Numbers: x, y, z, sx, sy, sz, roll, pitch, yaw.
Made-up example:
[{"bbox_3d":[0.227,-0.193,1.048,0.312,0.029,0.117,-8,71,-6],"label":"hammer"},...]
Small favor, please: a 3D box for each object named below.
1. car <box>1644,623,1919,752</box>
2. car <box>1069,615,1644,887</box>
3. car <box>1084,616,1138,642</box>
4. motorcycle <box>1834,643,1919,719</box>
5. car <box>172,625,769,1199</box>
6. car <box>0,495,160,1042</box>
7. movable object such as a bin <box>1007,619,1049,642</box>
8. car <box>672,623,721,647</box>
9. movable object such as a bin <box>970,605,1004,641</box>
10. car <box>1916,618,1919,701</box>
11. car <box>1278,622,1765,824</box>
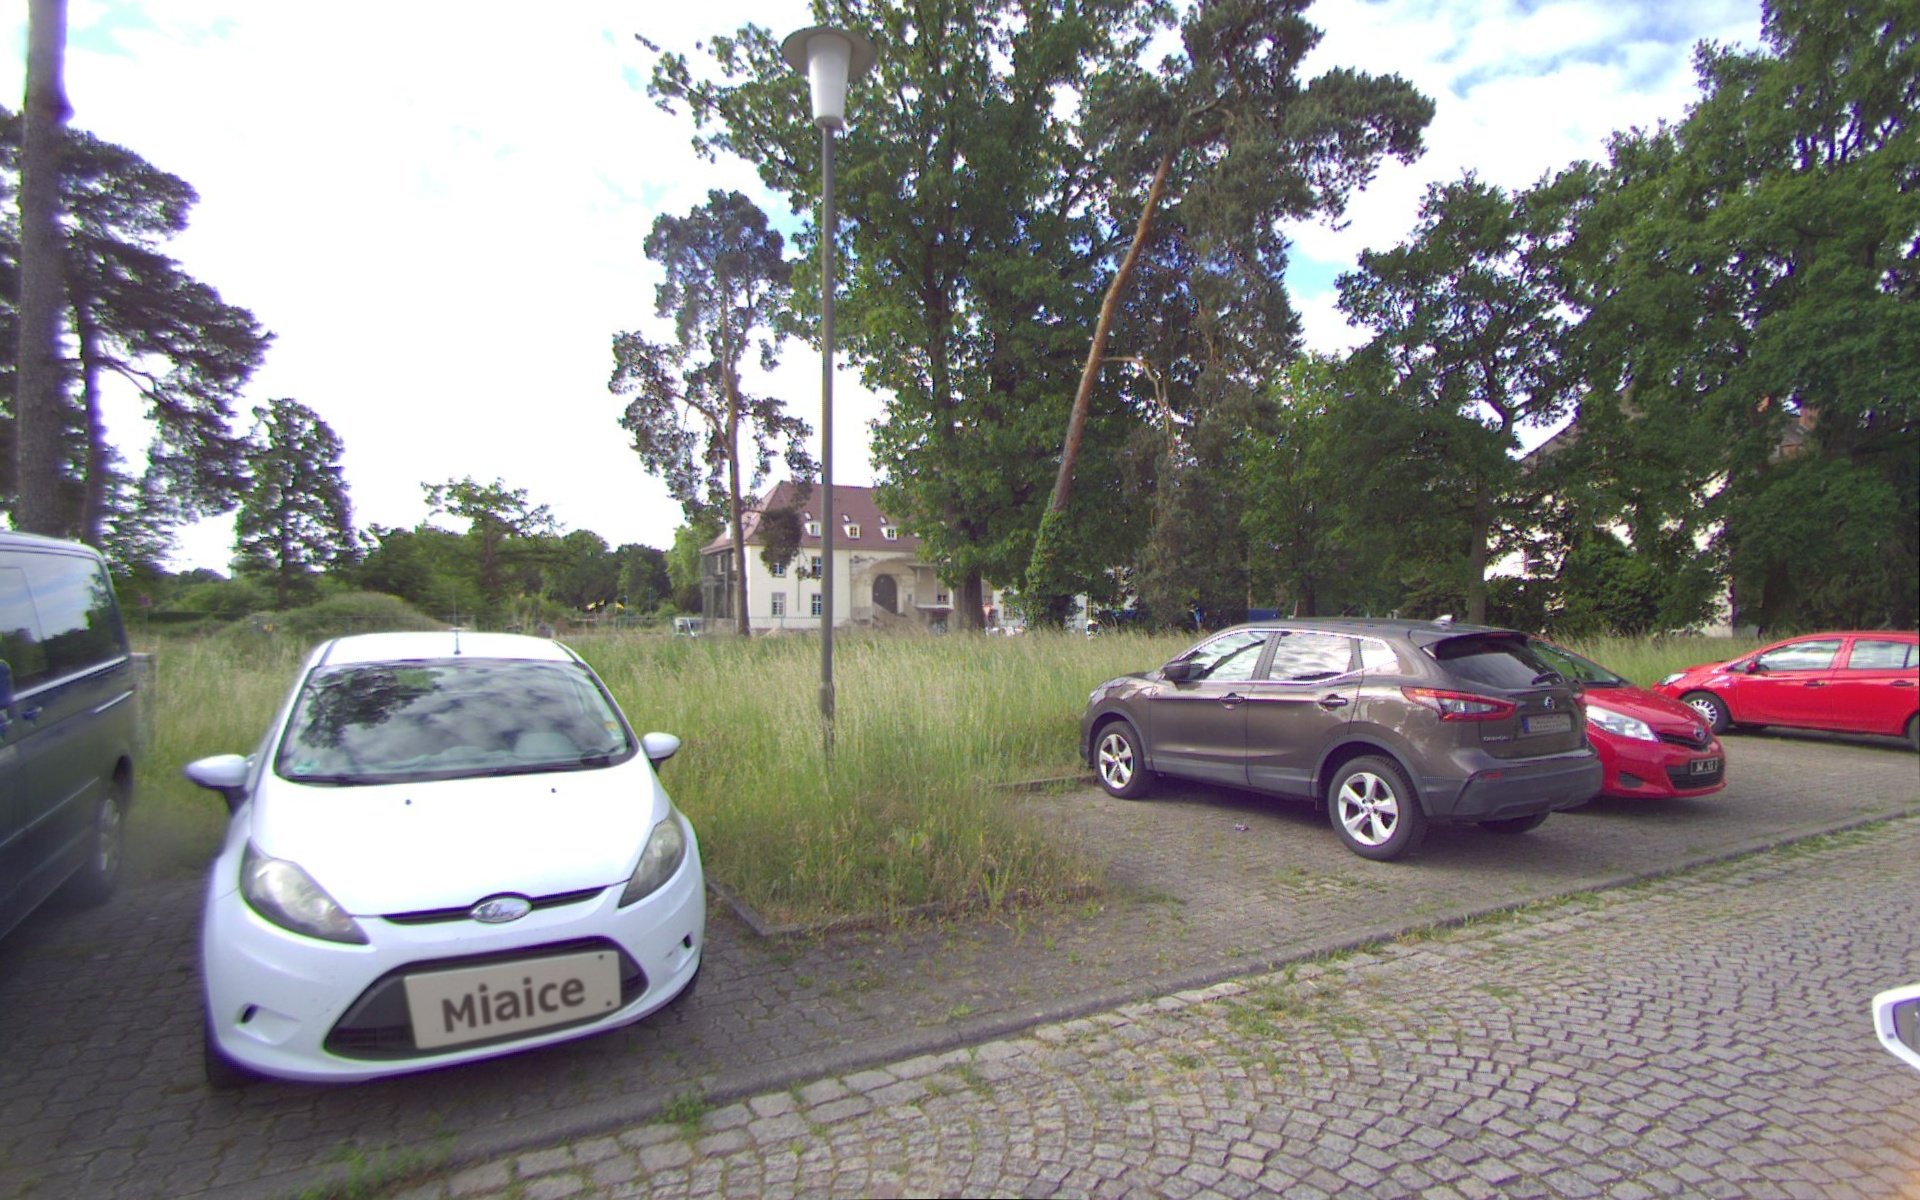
[{"bbox_3d":[11.626,1.079,13.369,1.766,1.509,3.798,0,-1,-30],"label":"car"},{"bbox_3d":[2.862,0.923,8.161,1.931,1.596,4.048,0,-1,-30],"label":"car"},{"bbox_3d":[13.078,2.557,87.138,4.294,2.122,2.052,3,-3,-30],"label":"car"},{"bbox_3d":[15.368,1.287,15.920,0.638,1.174,2.218,1,-1,-26],"label":"motorcycle"},{"bbox_3d":[-2.391,0.898,4.799,1.706,1.513,3.774,1,-1,-31],"label":"car"},{"bbox_3d":[-4.647,0.618,3.634,2.014,2.007,4.688,0,-1,-30],"label":"car"},{"bbox_3d":[6.831,3.090,101.313,2.347,2.283,4.495,2,-2,-24],"label":"movable object such as a bin"},{"bbox_3d":[-25.187,3.317,95.830,2.350,2.143,5.762,3,-3,-38],"label":"car"},{"bbox_3d":[2.766,2.465,105.699,2.104,3.689,6.123,2,-2,-12],"label":"movable object such as a bin"},{"bbox_3d":[20.452,1.150,18.333,1.767,1.625,4.051,0,-1,-31],"label":"car"},{"bbox_3d":[5.141,0.977,9.732,1.740,1.506,3.799,0,-1,-29],"label":"car"}]
